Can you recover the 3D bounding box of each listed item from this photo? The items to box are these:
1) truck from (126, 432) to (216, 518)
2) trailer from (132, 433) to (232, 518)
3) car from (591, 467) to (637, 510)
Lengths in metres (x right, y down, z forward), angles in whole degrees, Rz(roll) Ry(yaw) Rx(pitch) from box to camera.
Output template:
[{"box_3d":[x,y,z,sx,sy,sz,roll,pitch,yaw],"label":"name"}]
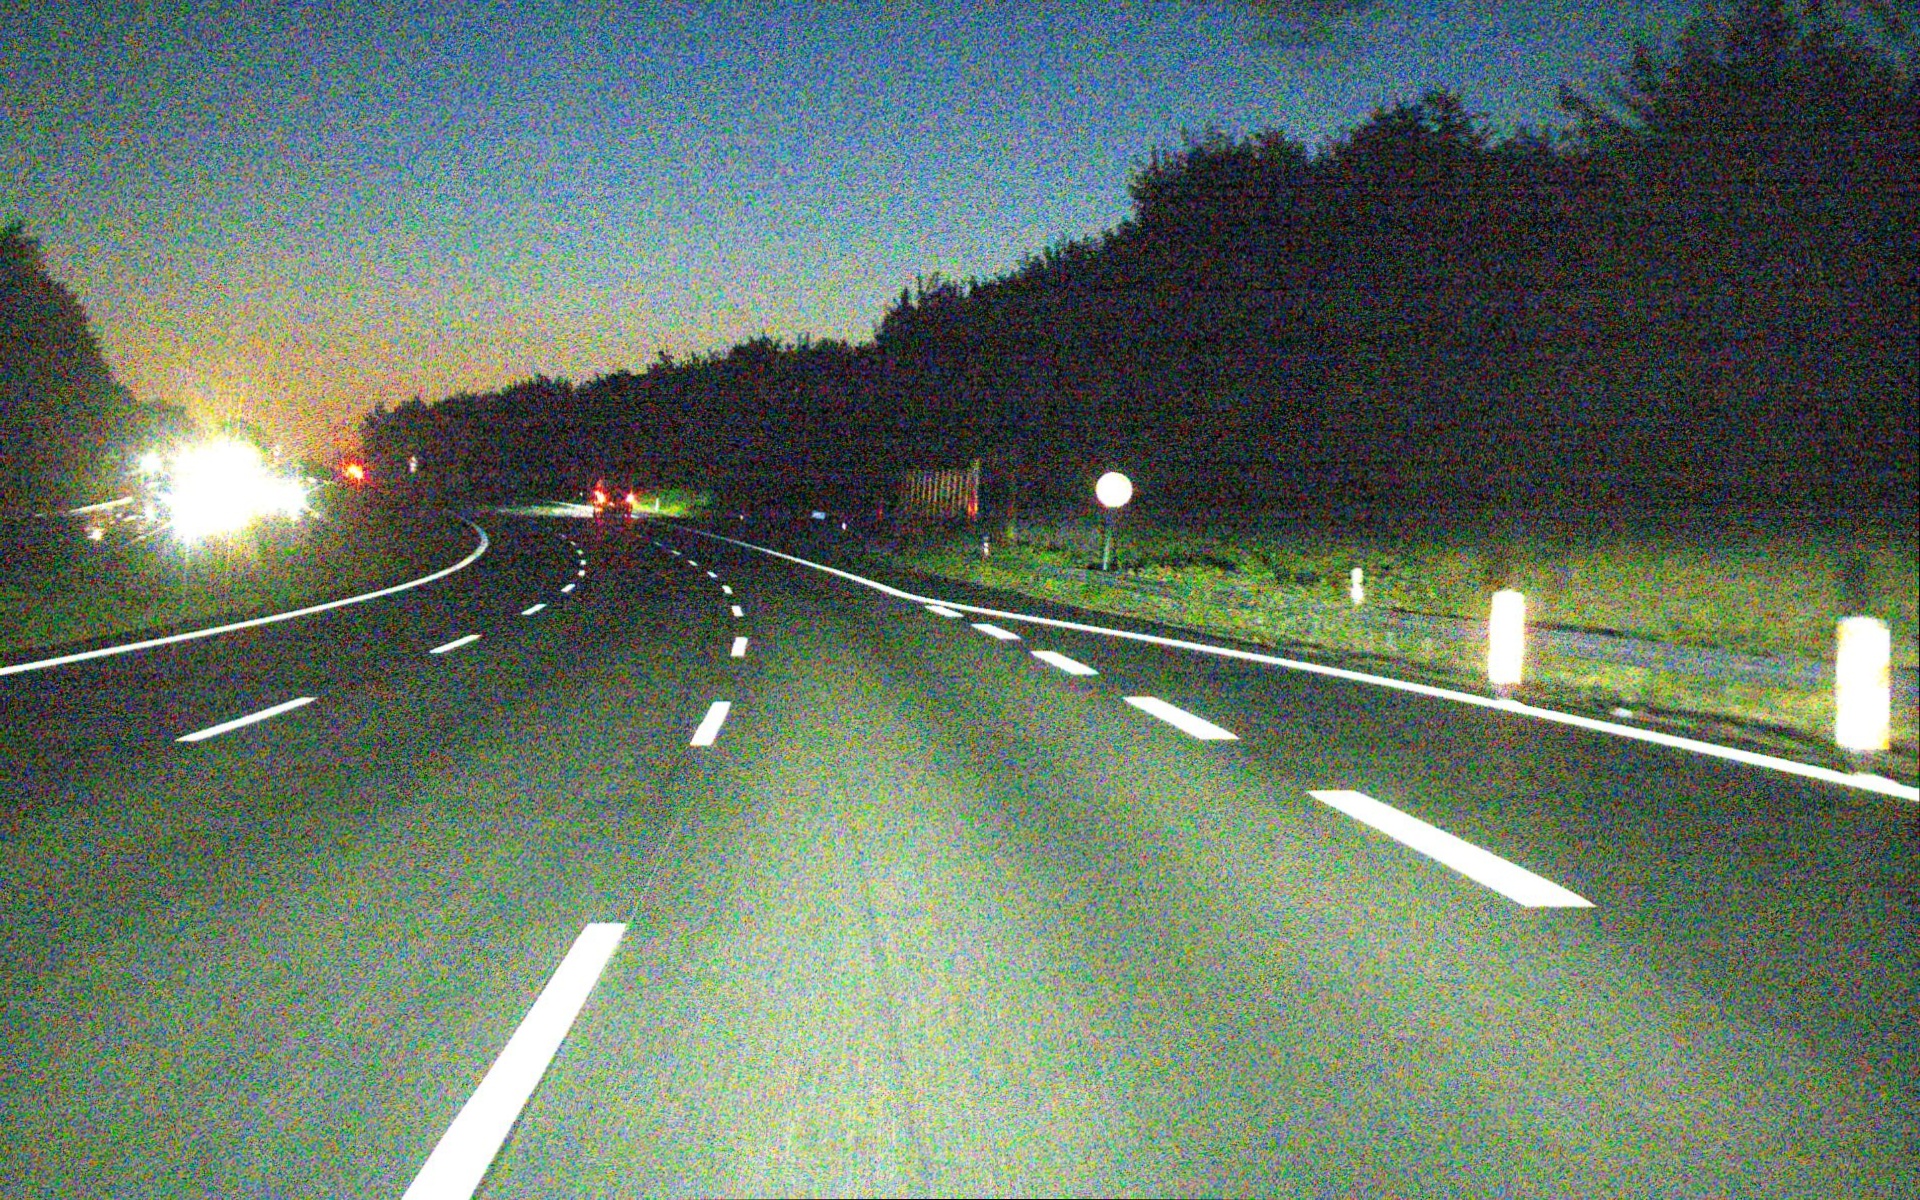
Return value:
[{"box_3d":[-38.493,-6.069,167.925,3.589,4.085,5.996,0,2,-6],"label":"truck"},{"box_3d":[-39.295,-6.277,174.150,3.598,4.076,14.128,0,2,-7],"label":"trailer"},{"box_3d":[-21.909,-7.030,217.361,2.527,2.544,6.053,3,2,-8],"label":"car"}]
